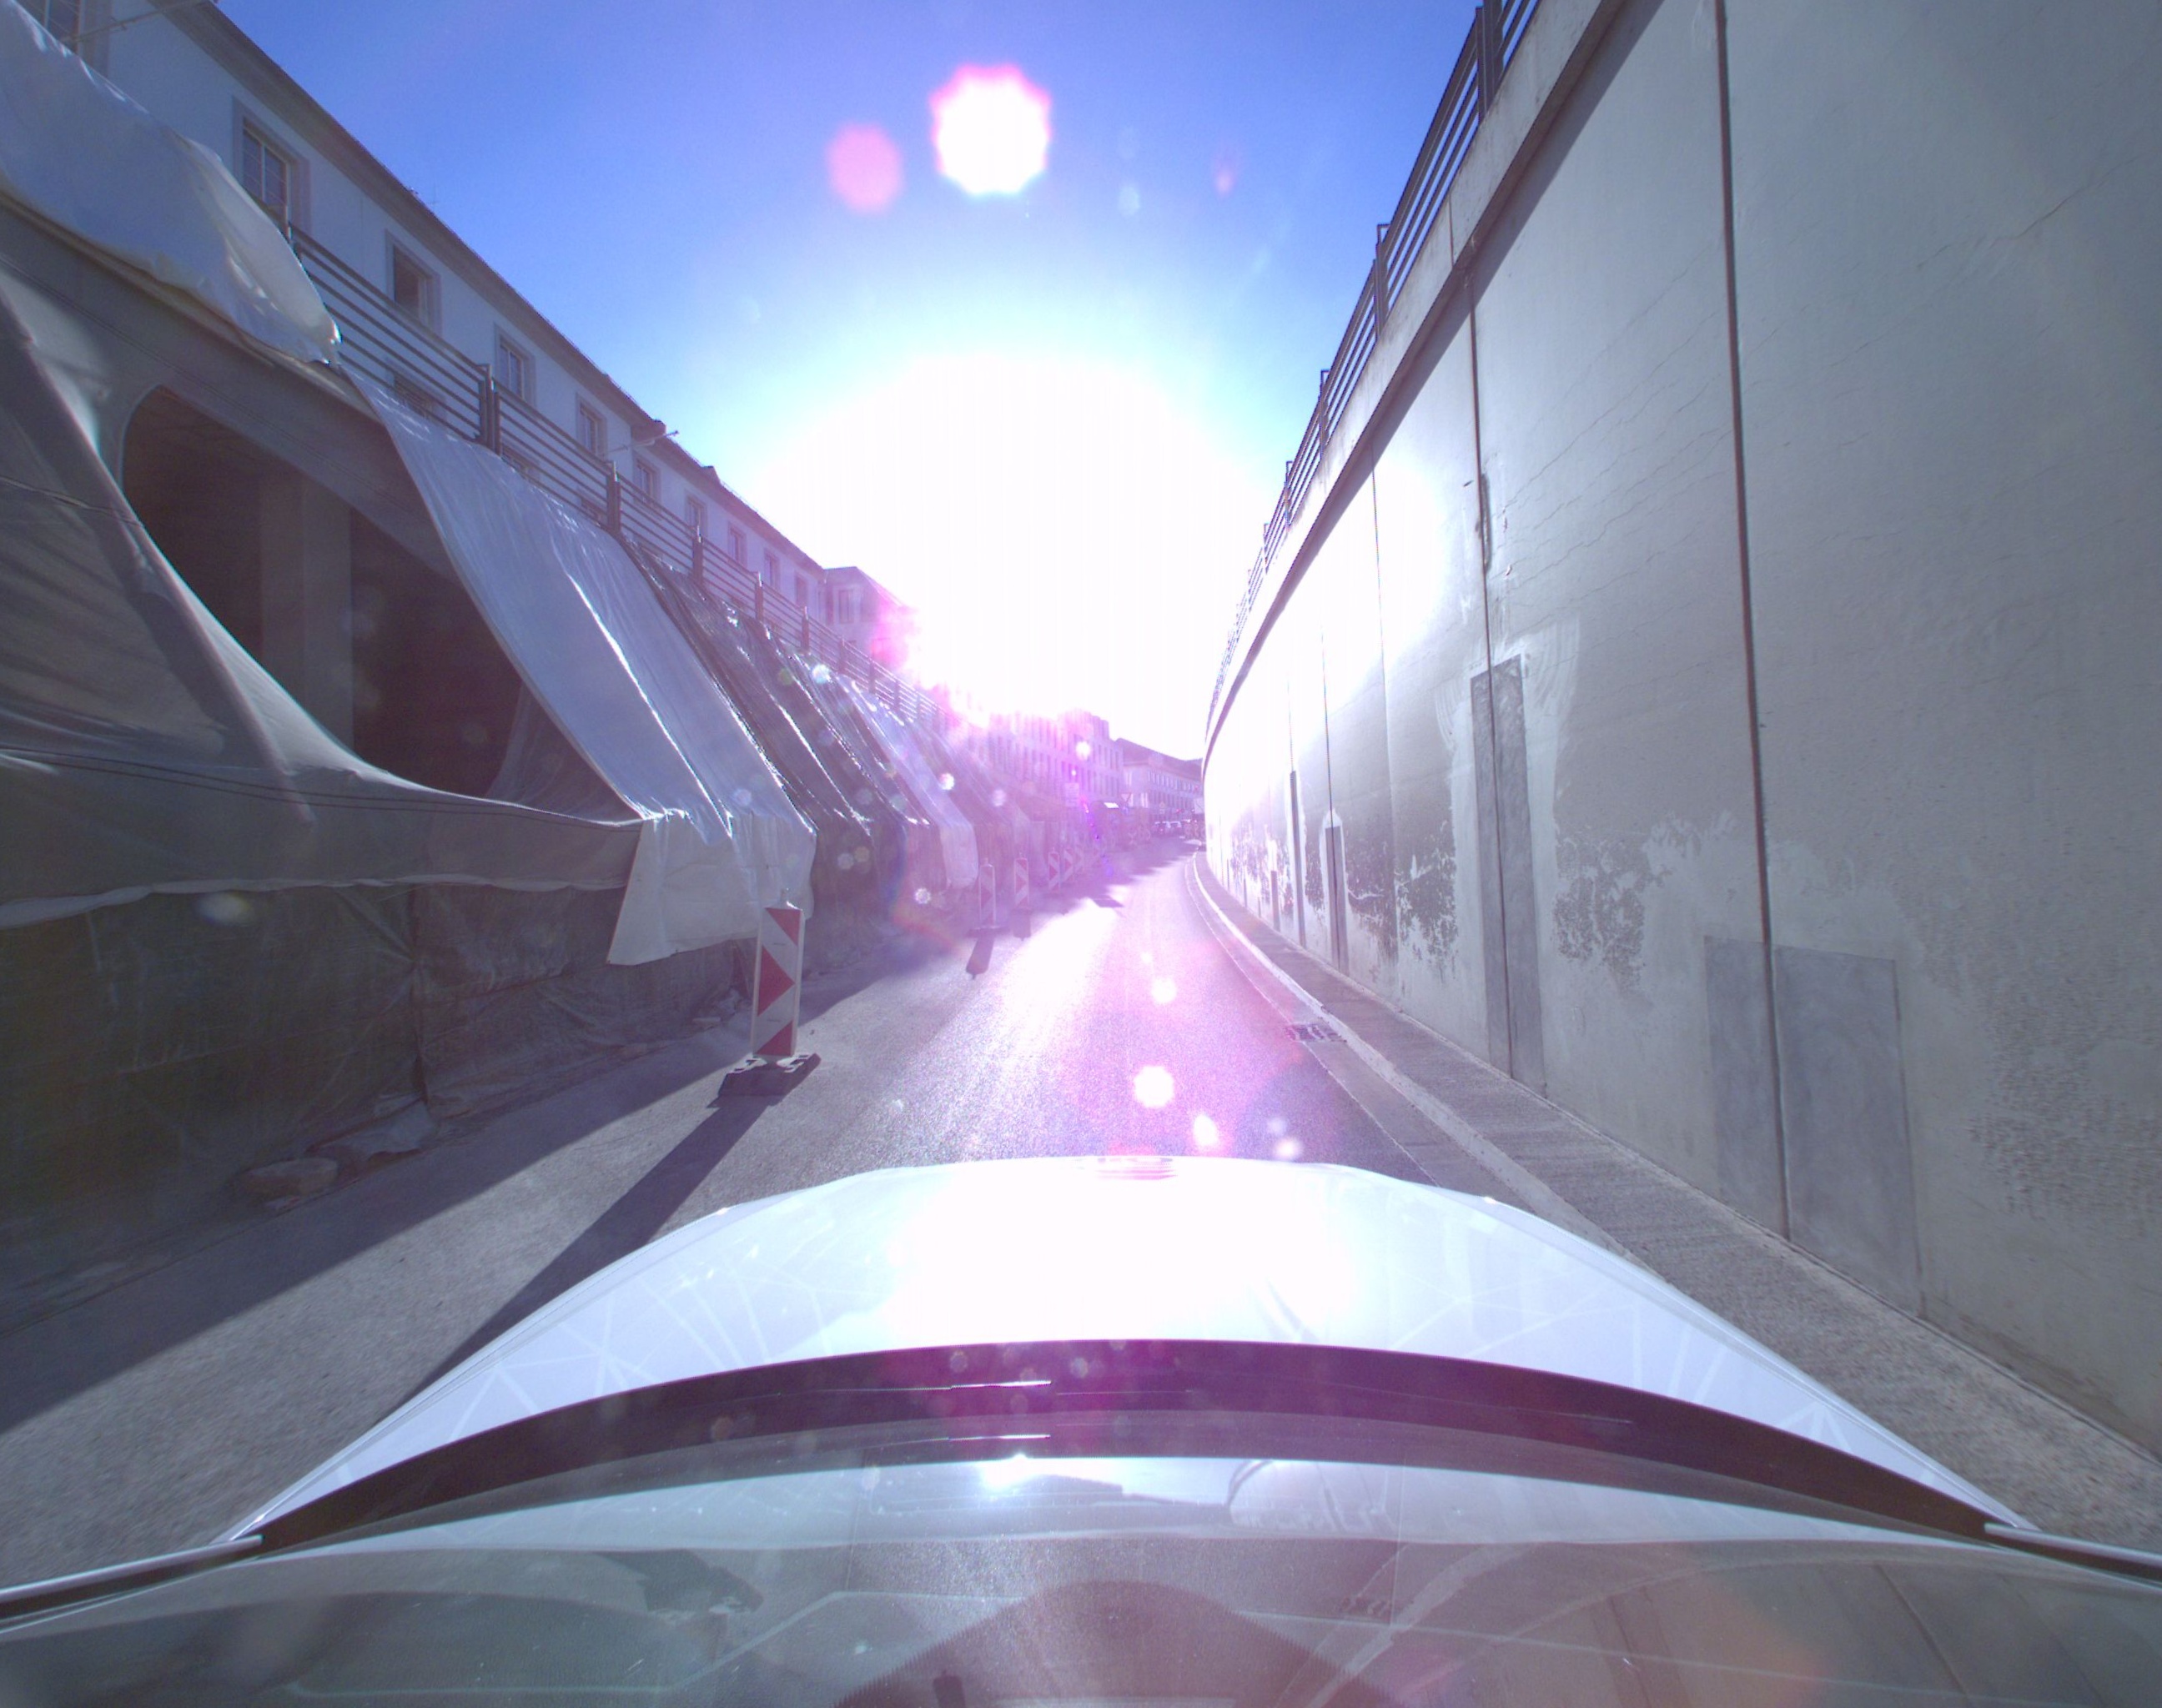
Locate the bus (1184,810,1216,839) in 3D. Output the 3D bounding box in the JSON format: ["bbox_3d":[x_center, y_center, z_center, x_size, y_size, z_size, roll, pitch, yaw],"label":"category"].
[{"bbox_3d":[11.132,-2.780,76.074,2.207,2.556,4.448,-1,2,17],"label":"bus"}]

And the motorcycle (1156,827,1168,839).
[{"bbox_3d":[7.254,-1.861,72.896,0.766,0.993,2.191,-2,-2,13],"label":"motorcycle"}]

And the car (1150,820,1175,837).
[{"bbox_3d":[7.982,-2.467,79.619,1.763,1.604,4.016,-1,1,14],"label":"car"}]

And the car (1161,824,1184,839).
[{"bbox_3d":[9.683,-2.351,85.828,1.807,1.533,4.017,-1,1,15],"label":"car"}]

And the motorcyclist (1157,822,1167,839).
[{"bbox_3d":[7.255,-2.106,72.874,0.798,1.504,0.779,-2,-2,12],"label":"motorcyclist"}]
